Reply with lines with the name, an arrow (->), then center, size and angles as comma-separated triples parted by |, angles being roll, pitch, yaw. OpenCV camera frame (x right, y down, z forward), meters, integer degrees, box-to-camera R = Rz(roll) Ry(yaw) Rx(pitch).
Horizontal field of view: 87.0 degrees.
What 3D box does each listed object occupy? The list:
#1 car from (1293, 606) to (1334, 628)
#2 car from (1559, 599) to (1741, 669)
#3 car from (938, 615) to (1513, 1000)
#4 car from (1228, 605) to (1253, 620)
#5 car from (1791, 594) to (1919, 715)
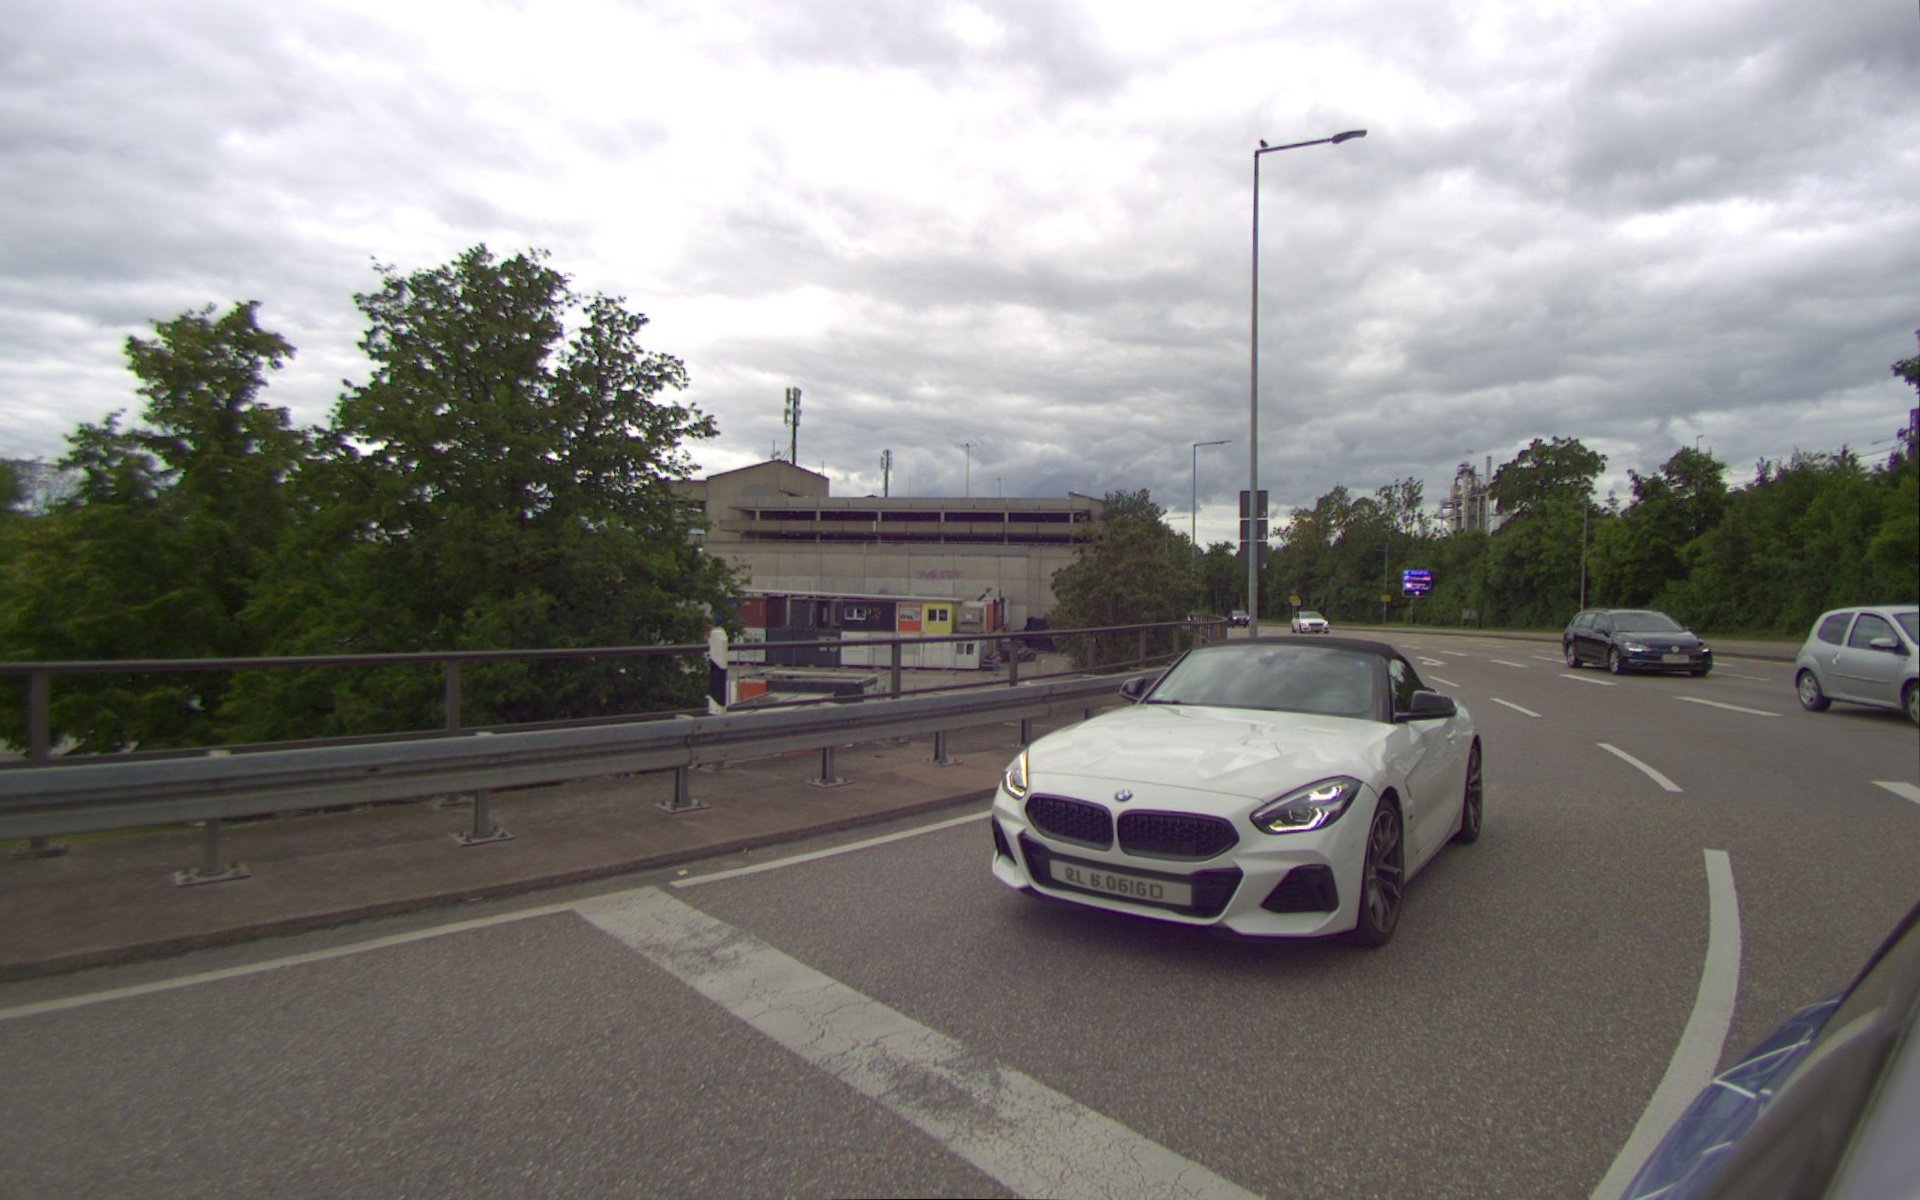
car -> 23.413, 1.098, 67.146 | 1.836, 1.434, 4.325 | -1, 0, 10
car -> 15.547, 0.722, 23.118 | 1.836, 1.434, 4.323 | -1, 0, 11
car -> 1.871, 0.789, 5.908 | 1.800, 1.308, 4.207 | -1, 0, 37
car -> 27.759, 1.205, 100.307 | 1.835, 1.434, 4.327 | 0, 0, 9
car -> 12.371, 0.645, 12.719 | 1.587, 1.434, 3.574 | -1, 0, 15
